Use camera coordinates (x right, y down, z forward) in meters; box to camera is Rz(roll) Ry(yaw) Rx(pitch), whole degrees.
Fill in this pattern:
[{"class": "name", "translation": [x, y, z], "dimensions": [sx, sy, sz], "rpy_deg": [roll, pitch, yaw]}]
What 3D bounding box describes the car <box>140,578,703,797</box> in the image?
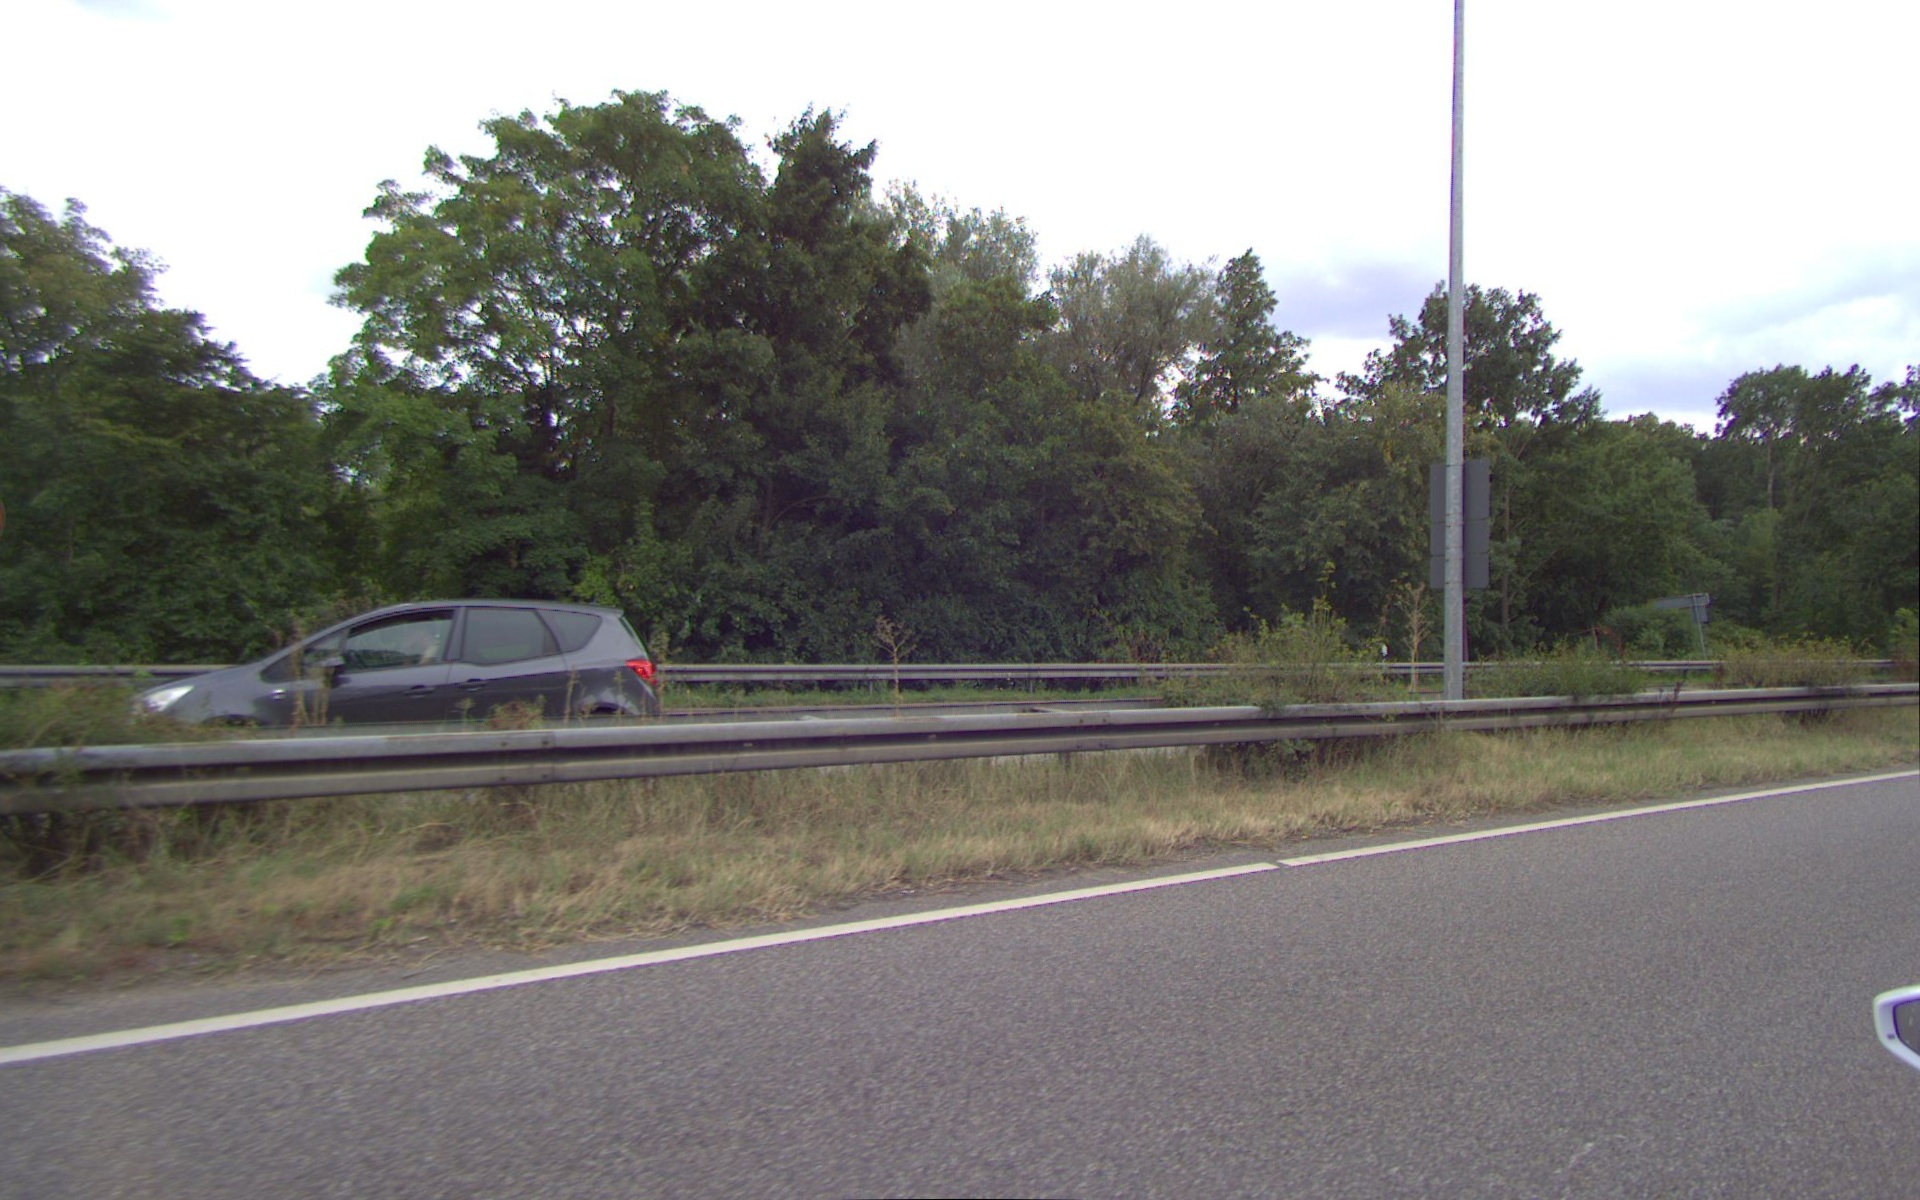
[{"class": "car", "translation": [-4.426, 0.706, 8.758], "dimensions": [3.893, 1.526, 1.759], "rpy_deg": [3, -2, -30]}]
